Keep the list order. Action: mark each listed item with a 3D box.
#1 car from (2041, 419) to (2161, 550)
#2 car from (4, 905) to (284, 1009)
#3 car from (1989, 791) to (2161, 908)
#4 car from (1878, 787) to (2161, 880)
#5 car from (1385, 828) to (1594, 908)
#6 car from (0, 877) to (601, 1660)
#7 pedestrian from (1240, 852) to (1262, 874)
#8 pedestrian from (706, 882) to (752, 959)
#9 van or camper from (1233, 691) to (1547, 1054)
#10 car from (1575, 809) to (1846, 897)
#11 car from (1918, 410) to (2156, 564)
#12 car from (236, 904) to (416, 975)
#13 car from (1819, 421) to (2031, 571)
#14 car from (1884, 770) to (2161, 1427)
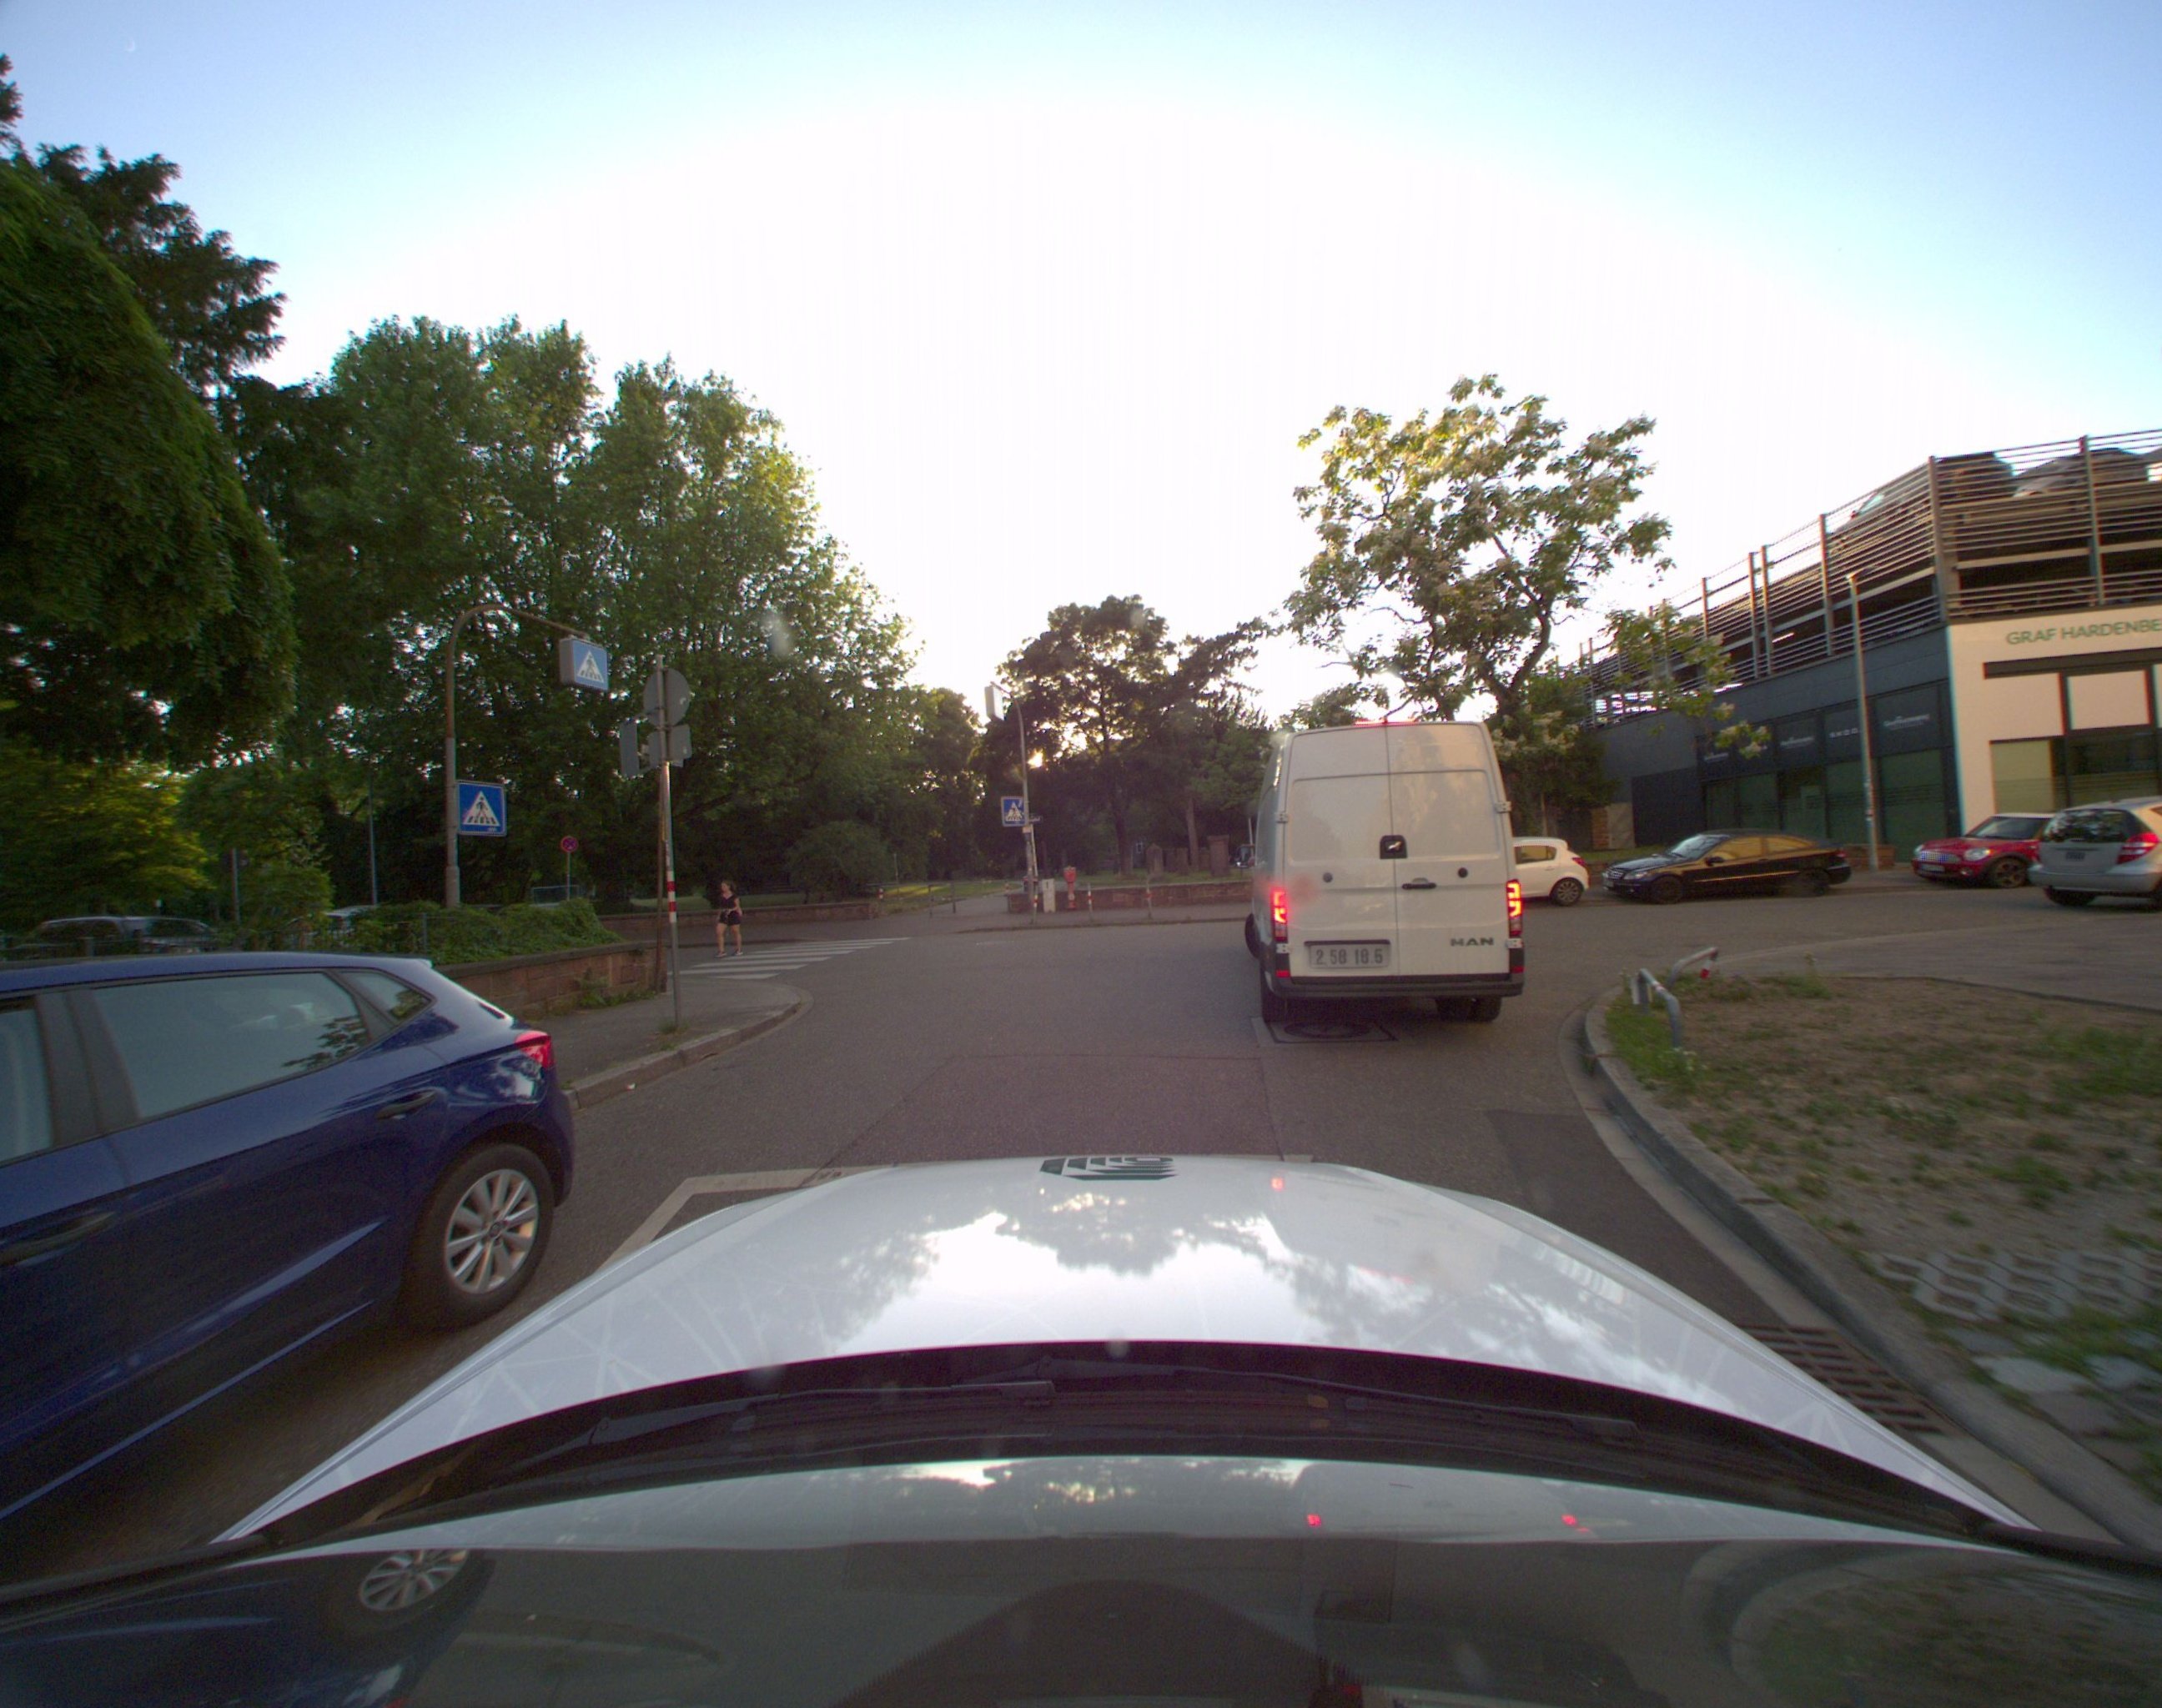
[{"bbox_3d":[27.422,-9.553,20.610,1.980,2.014,4.014,-2,-1,13],"label":"car"},{"bbox_3d":[-19.363,2.102,16.929,4.203,1.799,1.827,-4,-4,9],"label":"car"},{"bbox_3d":[16.009,-0.173,11.527,3.812,1.523,1.829,-5,-1,11],"label":"car"},{"bbox_3d":[19.220,-0.393,16.582,3.812,1.503,1.829,-5,-1,11],"label":"car"},{"bbox_3d":[9.293,0.319,18.828,3.836,1.574,1.961,-3,-1,5],"label":"car"},{"bbox_3d":[-3.136,0.938,1.678,1.725,1.567,3.795,-5,-1,4],"label":"car"},{"bbox_3d":[11.815,0.598,56.666,1.321,1.444,1.048,-3,-1,6],"label":"pedestrian"},{"bbox_3d":[-7.769,1.456,17.992,0.642,1.649,0.676,-2,-1,10],"label":"pedestrian"},{"bbox_3d":[2.846,0.181,9.185,1.982,2.618,6.418,-1,-1,9],"label":"van or camper"},{"bbox_3d":[13.607,-0.002,17.889,4.264,1.503,1.829,-5,-1,11],"label":"car"},{"bbox_3d":[24.780,-9.436,21.379,1.980,2.014,4.014,-2,-1,13],"label":"car"},{"bbox_3d":[-22.539,2.531,24.371,3.845,1.562,1.830,-4,5,11],"label":"car"},{"bbox_3d":[22.246,-9.355,21.736,1.980,2.014,4.014,-2,-1,13],"label":"car"},{"bbox_3d":[4.785,0.434,1.540,4.382,1.631,1.848,-5,-3,5],"label":"car"}]
